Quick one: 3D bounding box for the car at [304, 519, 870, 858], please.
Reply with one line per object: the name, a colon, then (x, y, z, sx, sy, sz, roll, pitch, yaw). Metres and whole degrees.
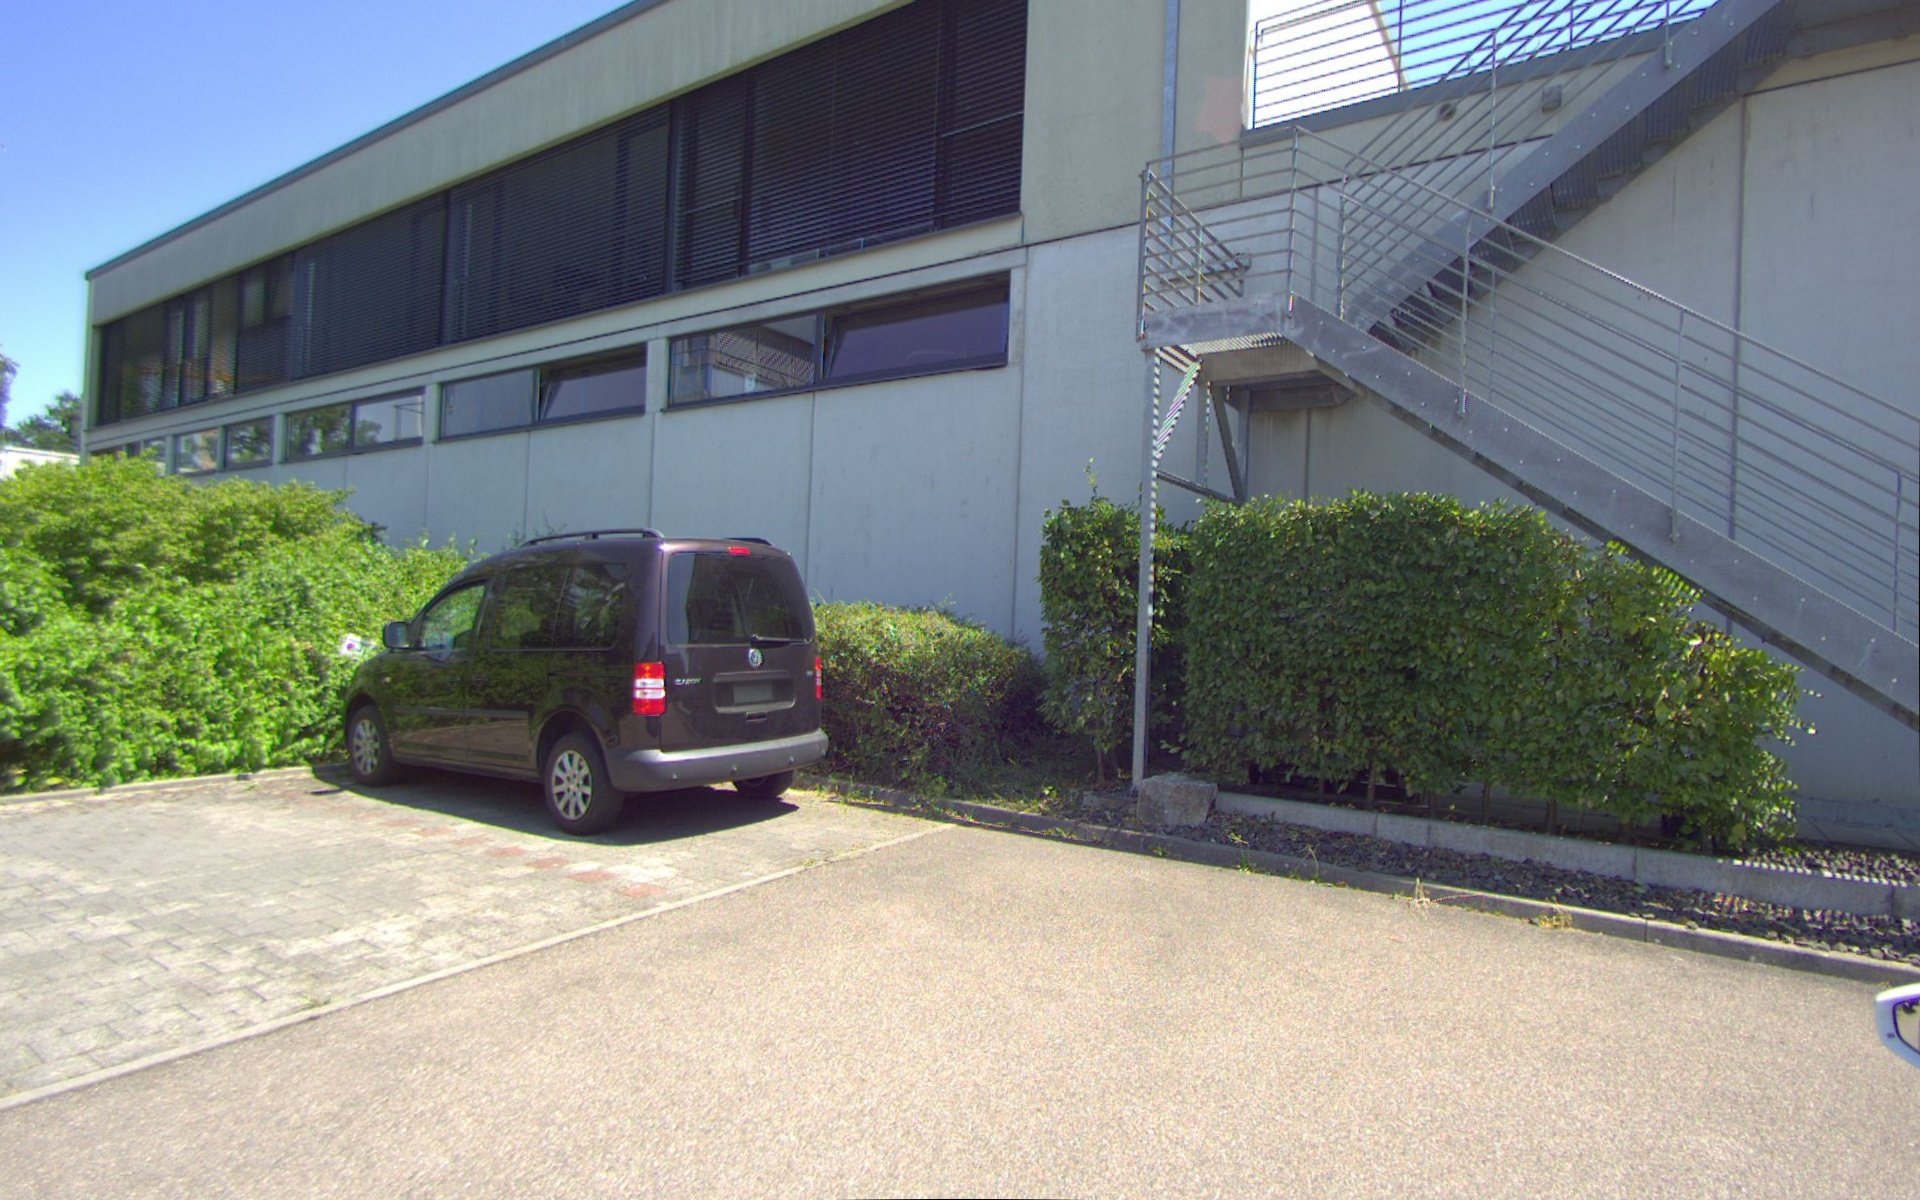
car: (-2.891, 0.480, 7.511, 4.157, 1.885, 1.863, 1, 0, 34)
